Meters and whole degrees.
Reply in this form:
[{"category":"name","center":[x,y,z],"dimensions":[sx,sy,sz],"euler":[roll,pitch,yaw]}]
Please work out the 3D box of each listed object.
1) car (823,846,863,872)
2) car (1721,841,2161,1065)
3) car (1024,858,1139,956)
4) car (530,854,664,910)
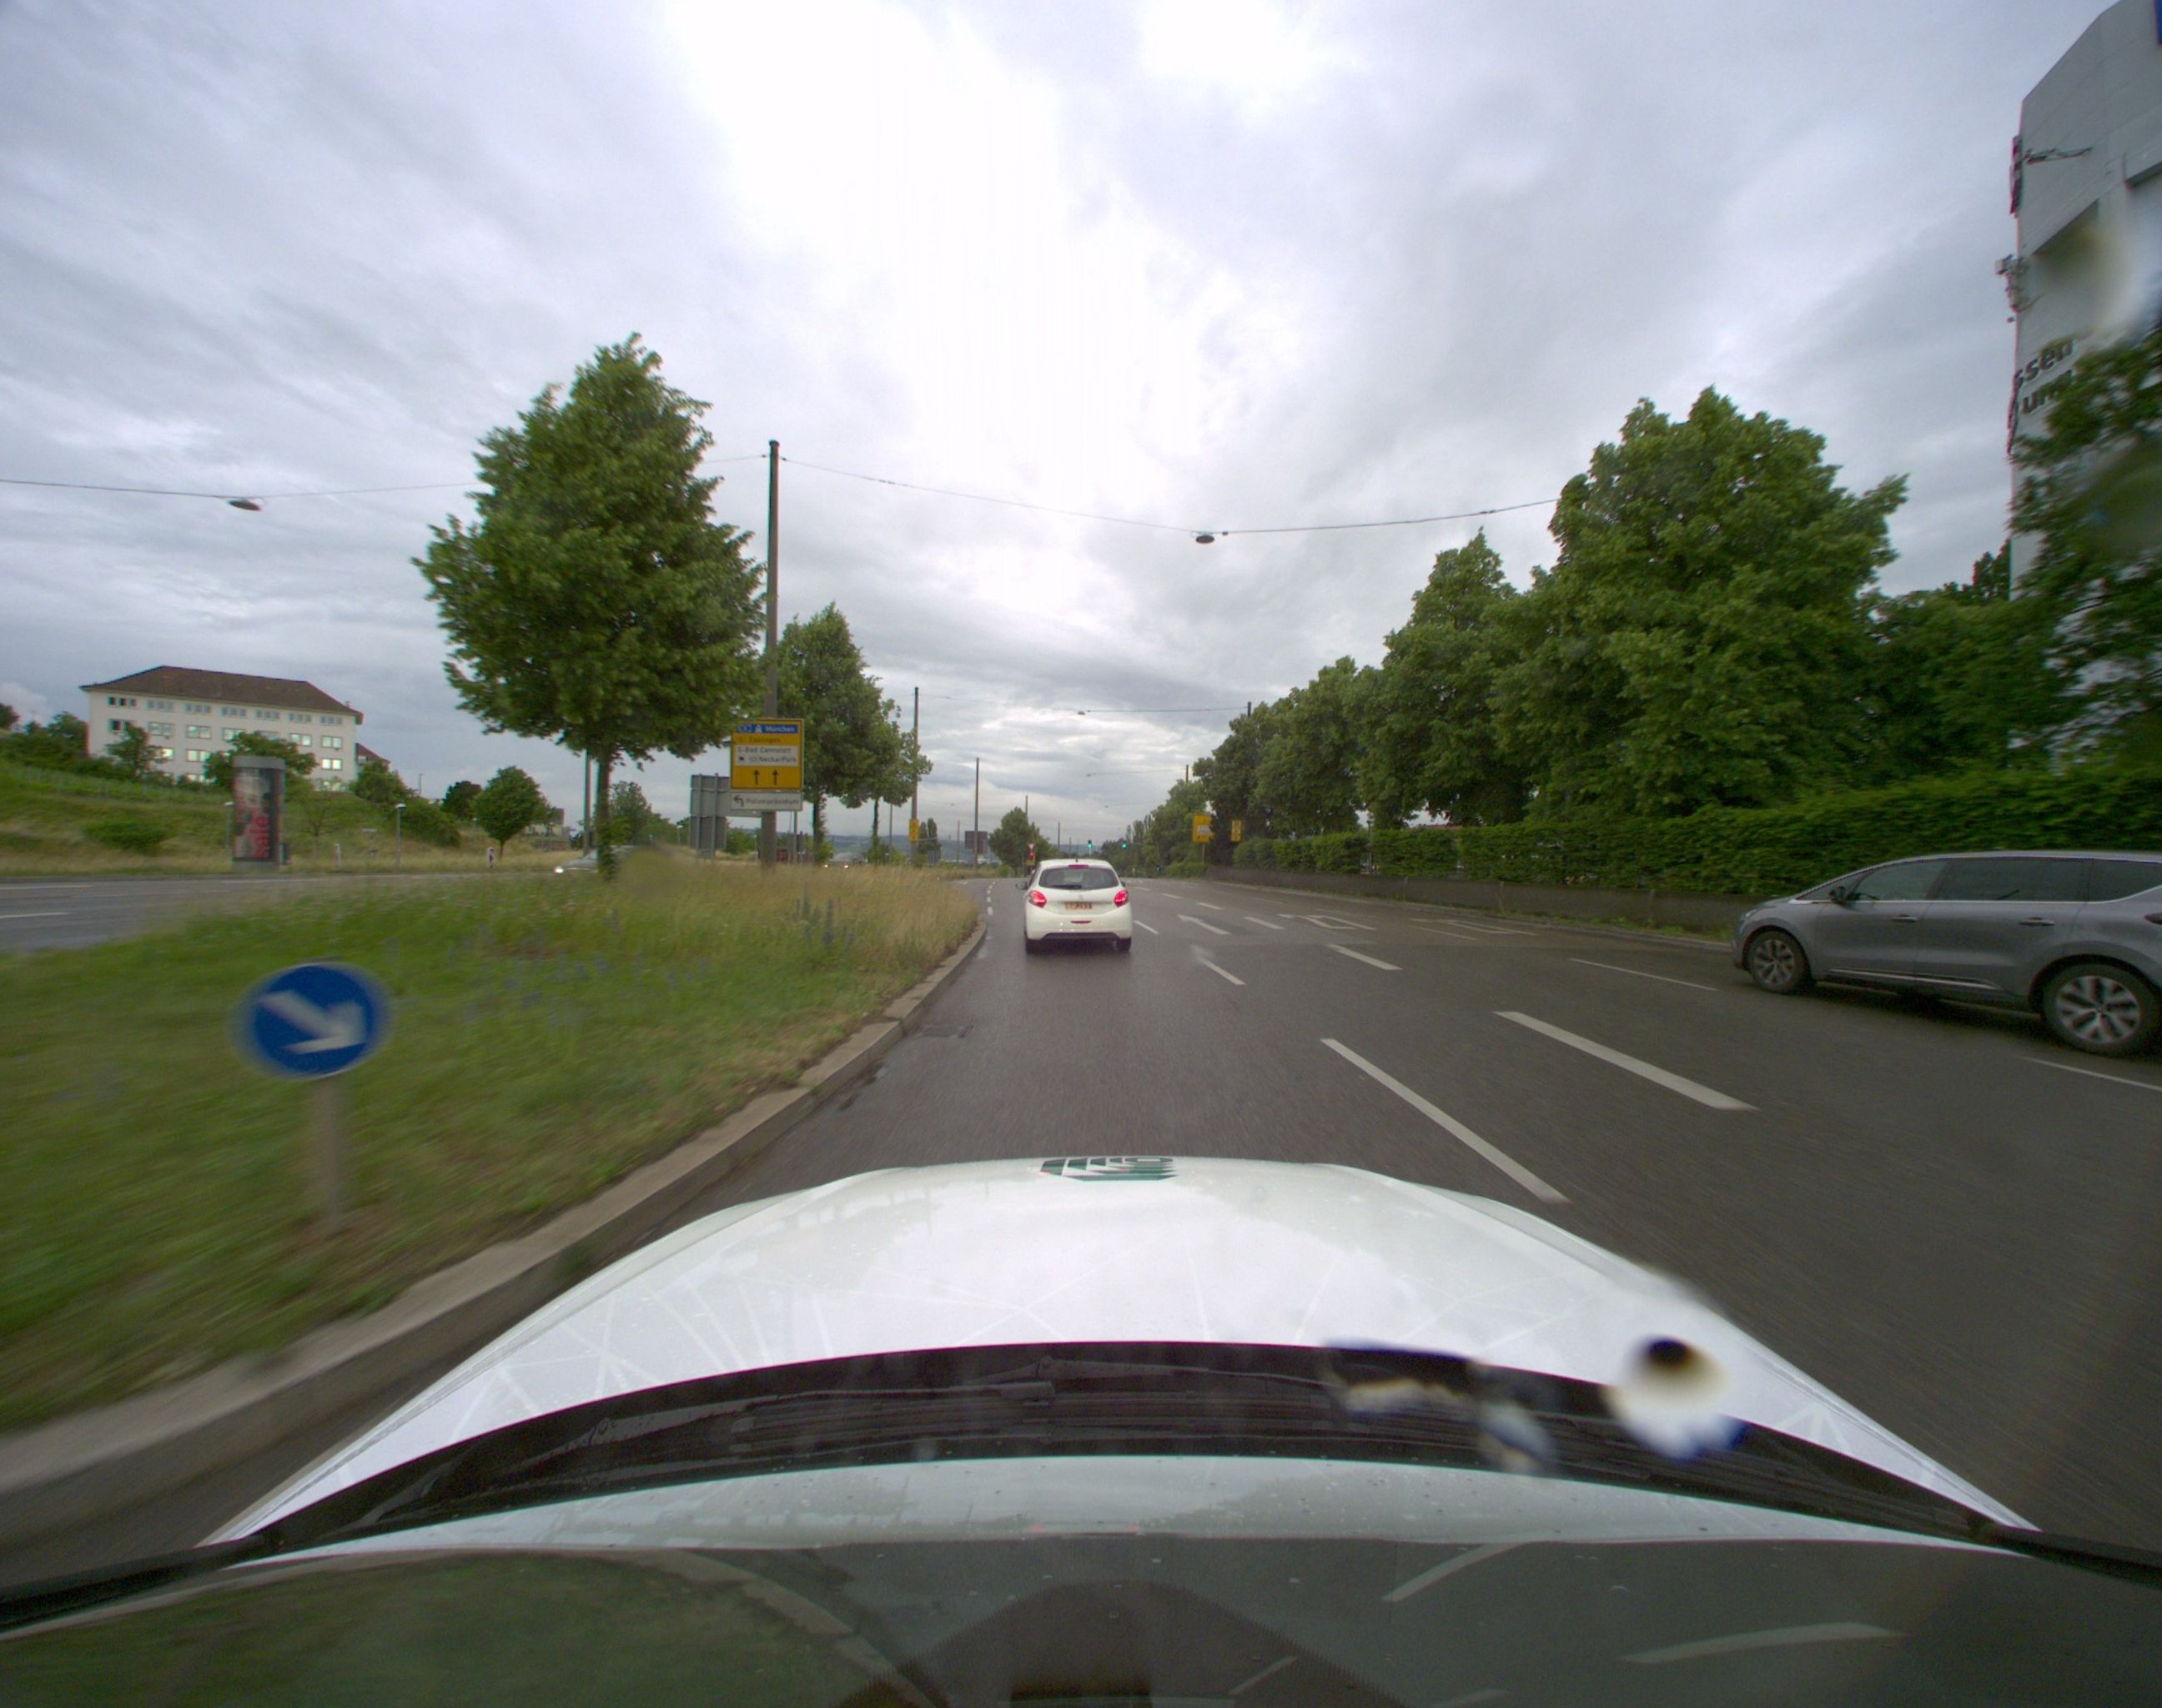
[{"category":"car","center":[-16.963,0.345,58.254],"dimensions":[1.763,1.750,3.996],"euler":[1,0,-2]},{"category":"car","center":[8.839,0.782,7.818],"dimensions":[1.720,1.649,4.623],"euler":[3,-1,-1]},{"category":"car","center":[-0.116,0.820,14.080],"dimensions":[1.705,1.440,3.685],"euler":[-1,-1,-4]},{"category":"car","center":[-15.347,0.838,26.146],"dimensions":[1.874,1.654,4.351],"euler":[1,0,-4]}]
